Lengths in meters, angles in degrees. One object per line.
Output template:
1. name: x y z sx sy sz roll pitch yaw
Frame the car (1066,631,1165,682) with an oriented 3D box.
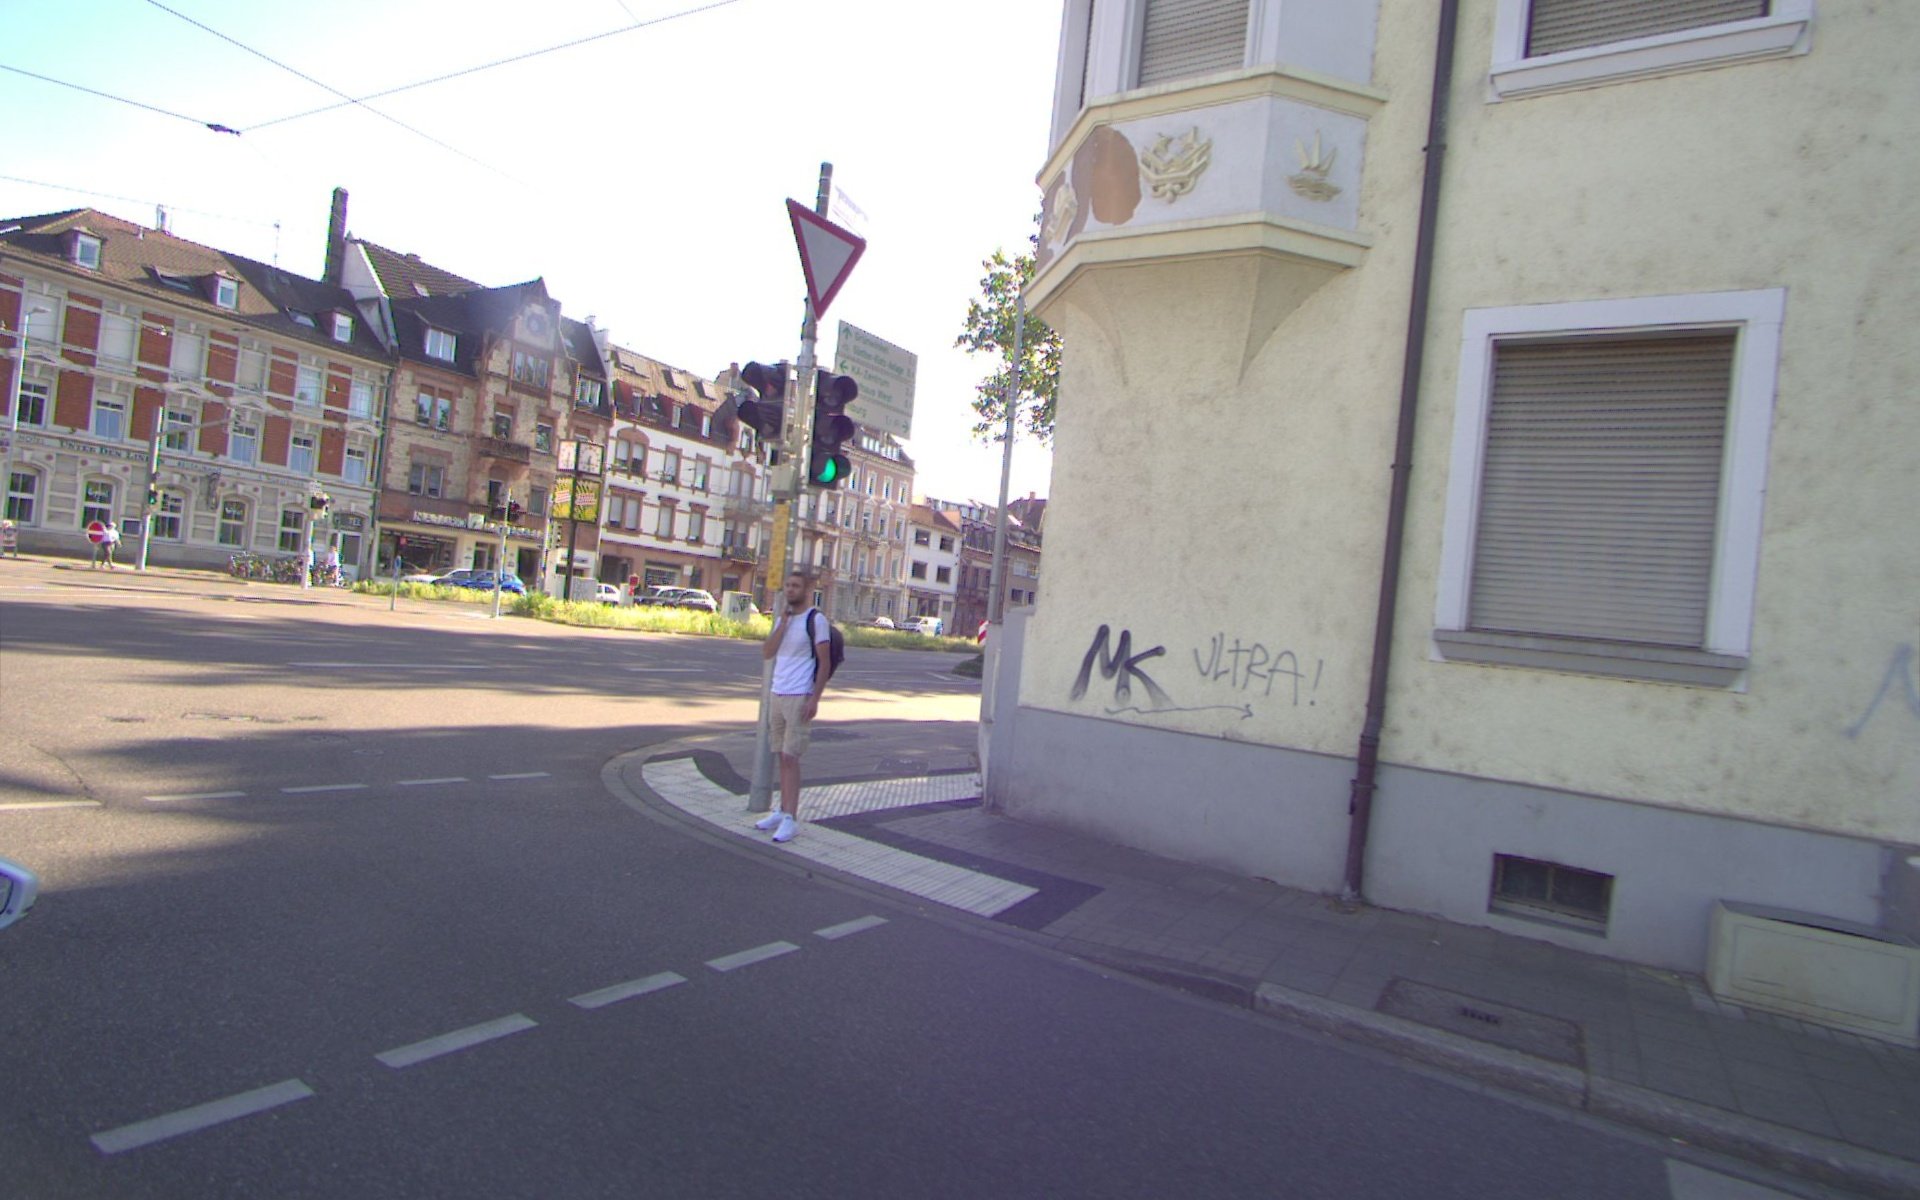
1. car: 5.450 2.000 34.831 1.886 1.471 4.497 6 -1 28

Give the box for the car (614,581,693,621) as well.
1. car: -18.899 0.081 62.254 1.922 1.988 4.410 6 -1 31

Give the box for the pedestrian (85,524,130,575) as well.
1. pedestrian: -30.802 -1.821 36.348 0.921 1.690 0.718 6 0 11

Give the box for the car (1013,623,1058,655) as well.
1. car: 8.159 4.225 107.946 2.166 2.944 5.948 6 -1 31

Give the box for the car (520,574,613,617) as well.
1. car: -20.016 -0.207 51.326 1.922 1.688 3.993 6 -1 31

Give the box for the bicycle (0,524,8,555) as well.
1. bicycle: -37.684 -2.423 38.292 0.538 1.205 1.961 6 -1 36

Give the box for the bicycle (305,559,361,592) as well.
1. bicycle: -27.762 -1.071 44.572 0.591 1.205 1.965 6 -1 28

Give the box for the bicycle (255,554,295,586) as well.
1. bicycle: -29.814 -1.317 43.773 1.935 1.205 0.678 6 0 33

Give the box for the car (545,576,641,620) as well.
1. car: -17.799 -0.053 48.955 1.922 1.688 3.993 6 -1 31

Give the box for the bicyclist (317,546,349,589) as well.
1. bicyclist: -27.742 -1.430 44.529 0.591 1.785 0.905 6 0 28

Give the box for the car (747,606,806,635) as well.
1. car: -13.218 1.462 72.544 1.922 1.688 3.993 6 -1 31

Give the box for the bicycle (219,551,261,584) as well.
1. bicycle: -30.494 -1.393 42.602 1.935 1.205 0.678 6 0 33

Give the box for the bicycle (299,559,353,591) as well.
1. bicycle: -28.487 -1.120 45.202 0.667 1.205 1.967 6 -1 20

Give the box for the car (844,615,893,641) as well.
1. car: -7.441 2.295 81.992 1.922 1.688 3.993 6 -1 31

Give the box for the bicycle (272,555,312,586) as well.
1. bicycle: -29.454 -1.301 44.347 1.935 1.205 0.678 6 0 33

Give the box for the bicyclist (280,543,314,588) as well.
1. bicyclist: -27.984 -1.437 42.466 0.592 1.785 0.873 6 0 34

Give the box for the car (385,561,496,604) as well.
1. car: -23.440 -0.762 45.521 1.815 1.429 3.993 6 -1 31

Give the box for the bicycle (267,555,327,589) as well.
1. bicycle: -28.000 -1.159 42.495 0.592 1.205 1.962 6 -1 34

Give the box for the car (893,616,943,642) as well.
1. car: -3.630 2.560 87.934 1.922 1.884 4.795 6 -1 31

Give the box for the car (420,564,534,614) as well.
1. car: -21.003 -0.442 43.892 1.922 1.688 3.993 6 -1 31

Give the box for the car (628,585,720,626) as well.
1. car: -15.132 0.314 53.472 1.922 1.688 4.479 6 -1 31

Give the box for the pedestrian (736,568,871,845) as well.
1. pedestrian: -1.056 0.694 6.900 0.661 1.764 0.689 4 2 6

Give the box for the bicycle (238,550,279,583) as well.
1. bicycle: -30.142 -1.439 43.216 1.935 1.205 0.678 6 0 33
